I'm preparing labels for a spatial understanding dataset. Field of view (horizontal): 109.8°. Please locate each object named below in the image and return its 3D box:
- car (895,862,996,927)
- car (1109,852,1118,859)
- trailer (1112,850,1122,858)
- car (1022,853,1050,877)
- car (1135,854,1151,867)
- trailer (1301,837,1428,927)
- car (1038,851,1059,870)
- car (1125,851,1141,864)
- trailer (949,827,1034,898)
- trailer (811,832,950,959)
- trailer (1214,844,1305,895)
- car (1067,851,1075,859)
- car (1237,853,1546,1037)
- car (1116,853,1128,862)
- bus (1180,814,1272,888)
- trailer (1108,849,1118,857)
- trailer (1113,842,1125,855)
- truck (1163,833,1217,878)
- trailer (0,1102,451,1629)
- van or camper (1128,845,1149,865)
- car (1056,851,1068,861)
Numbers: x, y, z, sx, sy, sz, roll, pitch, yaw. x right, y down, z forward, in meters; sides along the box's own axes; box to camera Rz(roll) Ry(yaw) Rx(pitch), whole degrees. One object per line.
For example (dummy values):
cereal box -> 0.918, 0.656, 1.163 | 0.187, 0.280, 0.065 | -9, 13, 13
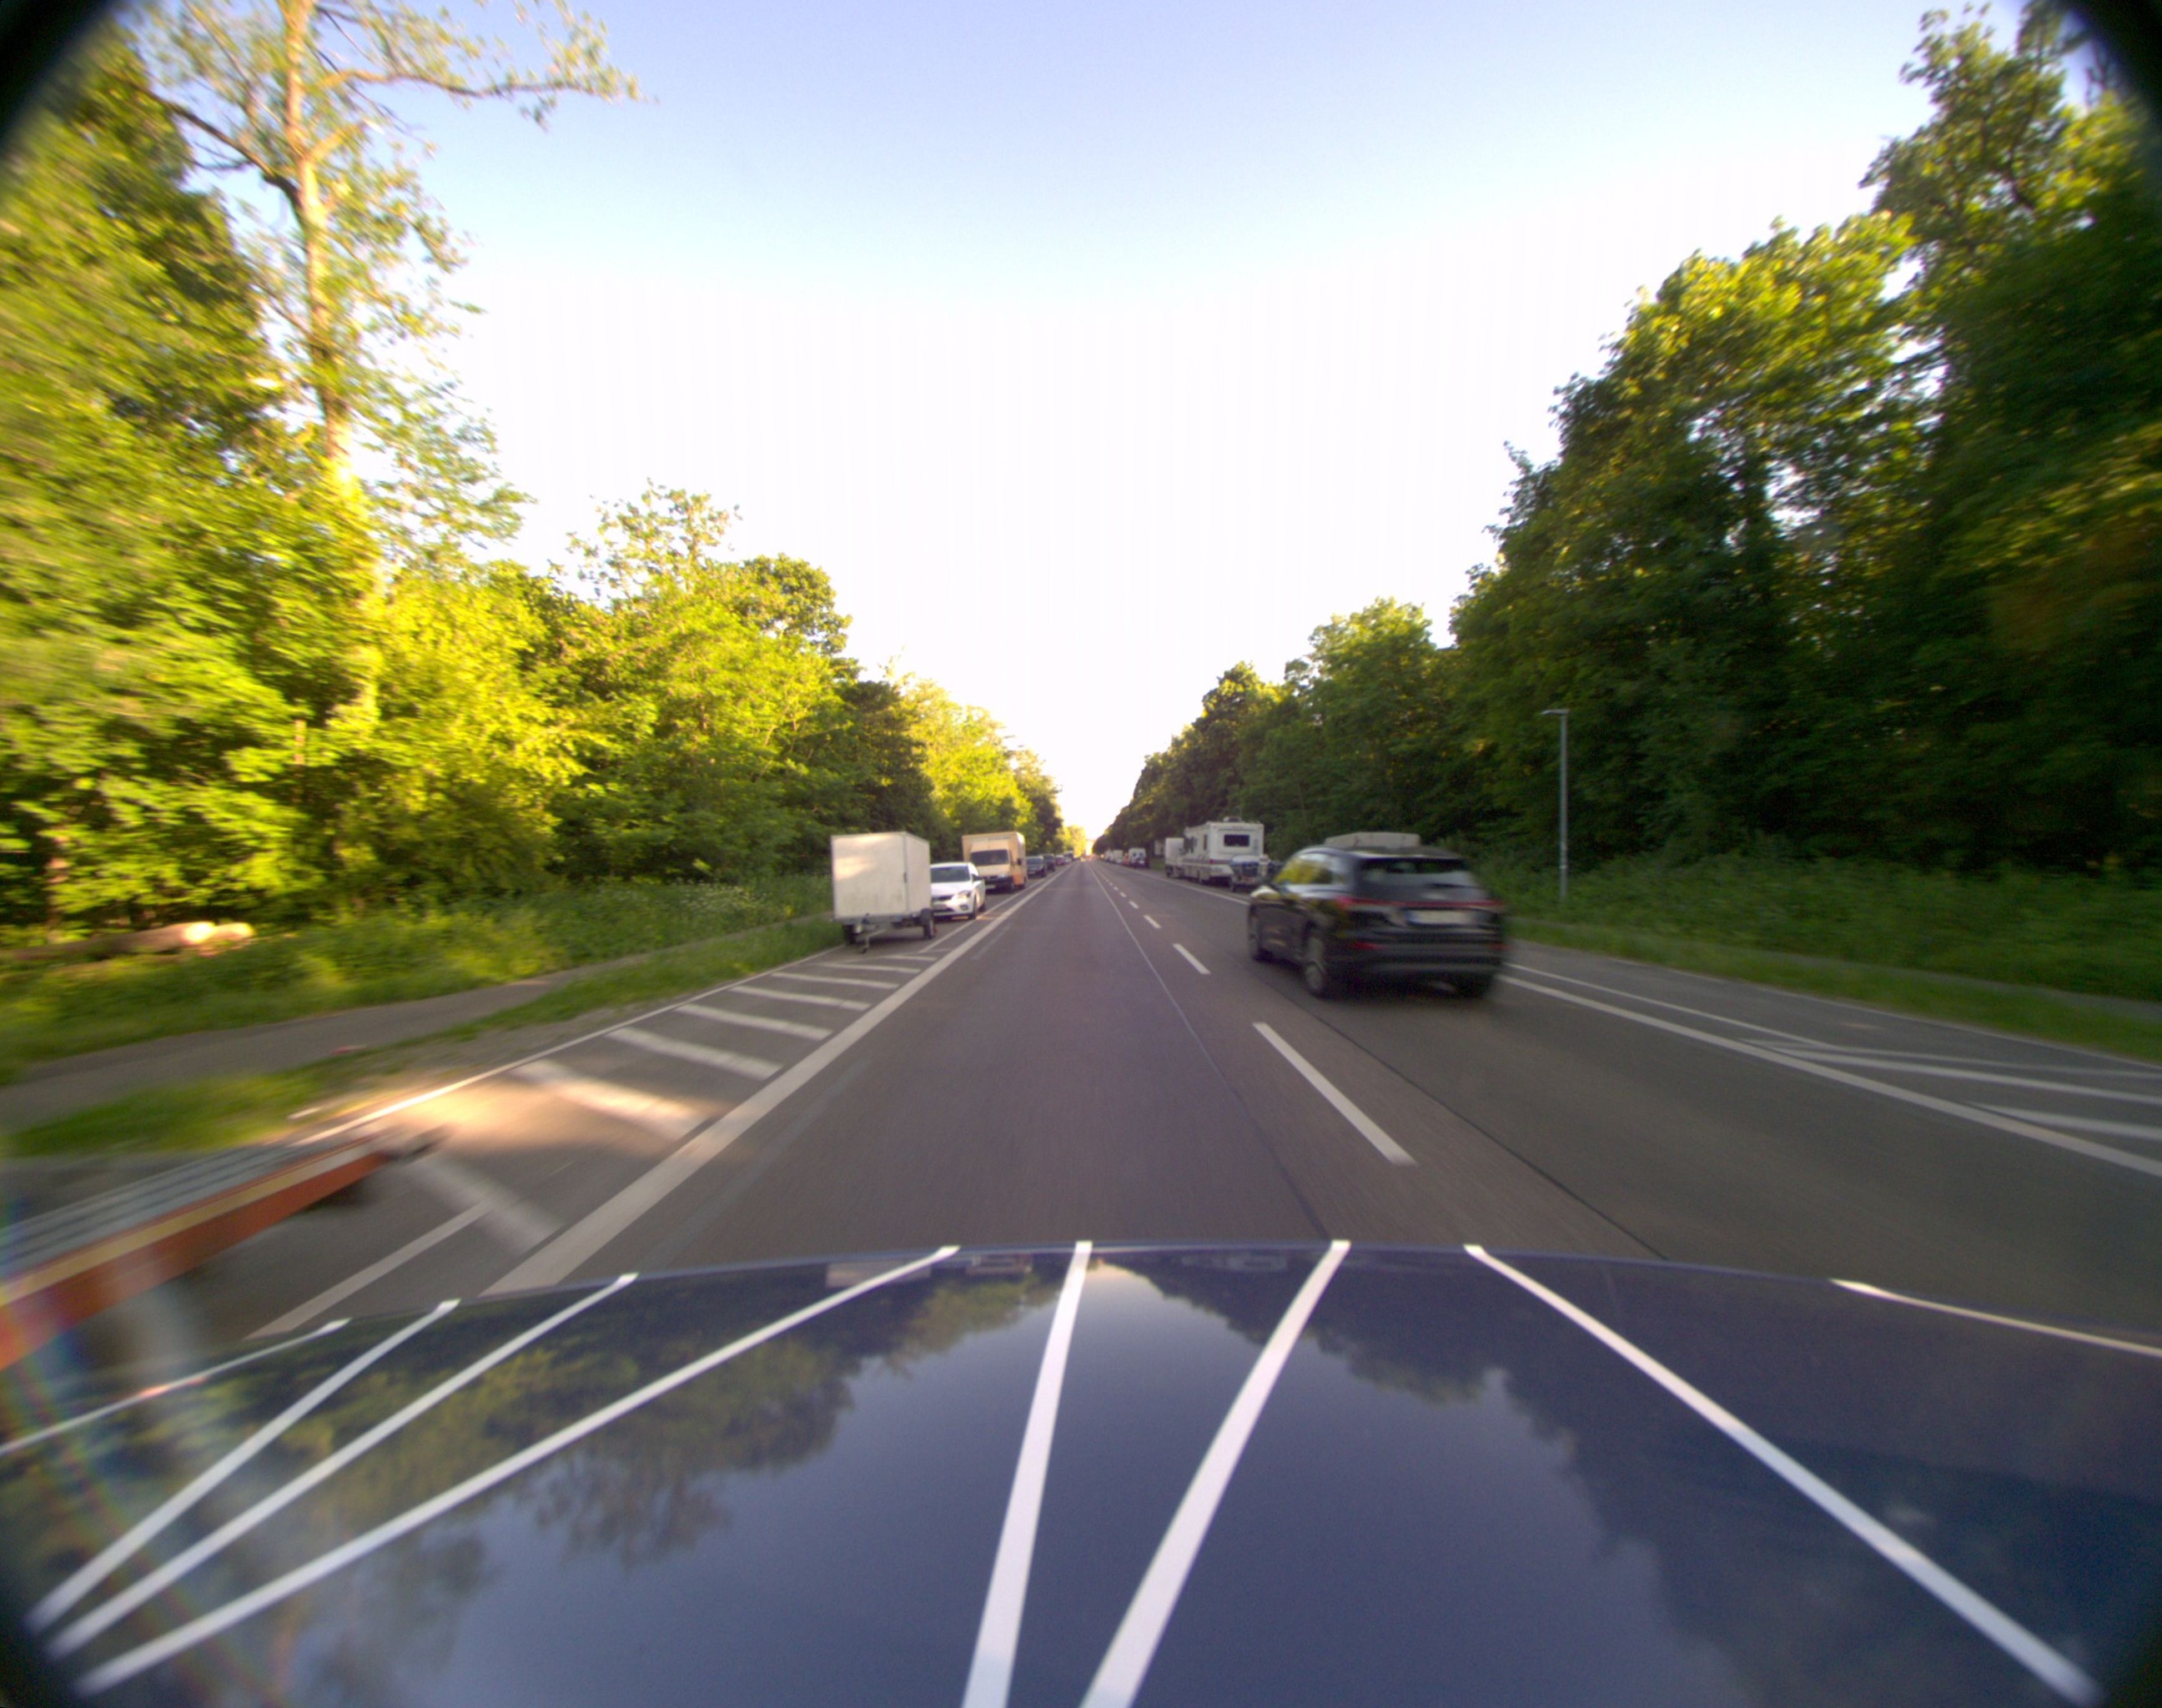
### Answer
car -> -3.555, 1.022, 20.810 | 1.892, 1.459, 4.569 | -2, 0, 0
car -> 8.223, 0.337, 193.959 | 1.998, 1.620, 4.144 | -2, 0, 0
trailer -> 8.020, 0.023, 167.843 | 1.998, 1.776, 3.999 | -2, 1, 0
car -> -3.387, 0.802, 58.302 | 1.804, 1.681, 4.601 | -2, 1, 0
car -> 7.244, 0.703, 88.957 | 1.787, 1.485, 4.001 | 0, 0, 5
trailer -> 6.988, 0.624, 19.125 | 1.858, 2.002, 3.561 | 2, 0, 1
car -> -3.442, 0.683, 81.651 | 1.998, 1.888, 5.473 | -2, 0, 0
car -> 7.595, 0.496, 111.971 | 1.998, 1.797, 4.144 | -2, 0, 0
trailer -> -4.092, 0.306, 37.282 | 2.929, 2.825, 9.881 | -4, 1, -1
trailer -> -3.740, 0.710, 14.792 | 1.759, 2.149, 3.539 | -1, 0, -1
trailer -> 7.473, 0.598, 32.684 | 2.434, 1.903, 6.263 | -2, 0, 0
car -> -2.262, 0.248, 174.995 | 1.837, 1.608, 4.000 | -2, 0, 0
car -> 3.174, 0.793, 8.881 | 1.823, 1.577, 4.459 | 0, 1, 1
car -> 7.510, 0.567, 139.186 | 1.998, 1.620, 4.144 | -2, 0, 0
bus -> 7.586, -0.217, 41.441 | 2.835, 3.411, 11.198 | -2, 1, 0
trailer -> 8.396, -0.294, 201.200 | 2.306, 1.972, 3.999 | -2, 1, 0
trailer -> 7.324, -1.054, 145.921 | 1.998, 2.227, 3.999 | -2, 1, 0
truck -> 7.395, 0.101, 52.712 | 2.489, 2.807, 8.424 | -2, 0, 0
trailer -> -3.713, 1.432, 0.131 | 2.439, 0.794, 5.659 | -2, 1, 0
van or camper -> 7.626, 0.143, 101.172 | 2.253, 2.599, 5.984 | -1, 0, 0
car -> -3.186, 0.346, 130.067 | 1.837, 1.608, 4.000 | -2, 0, 0
